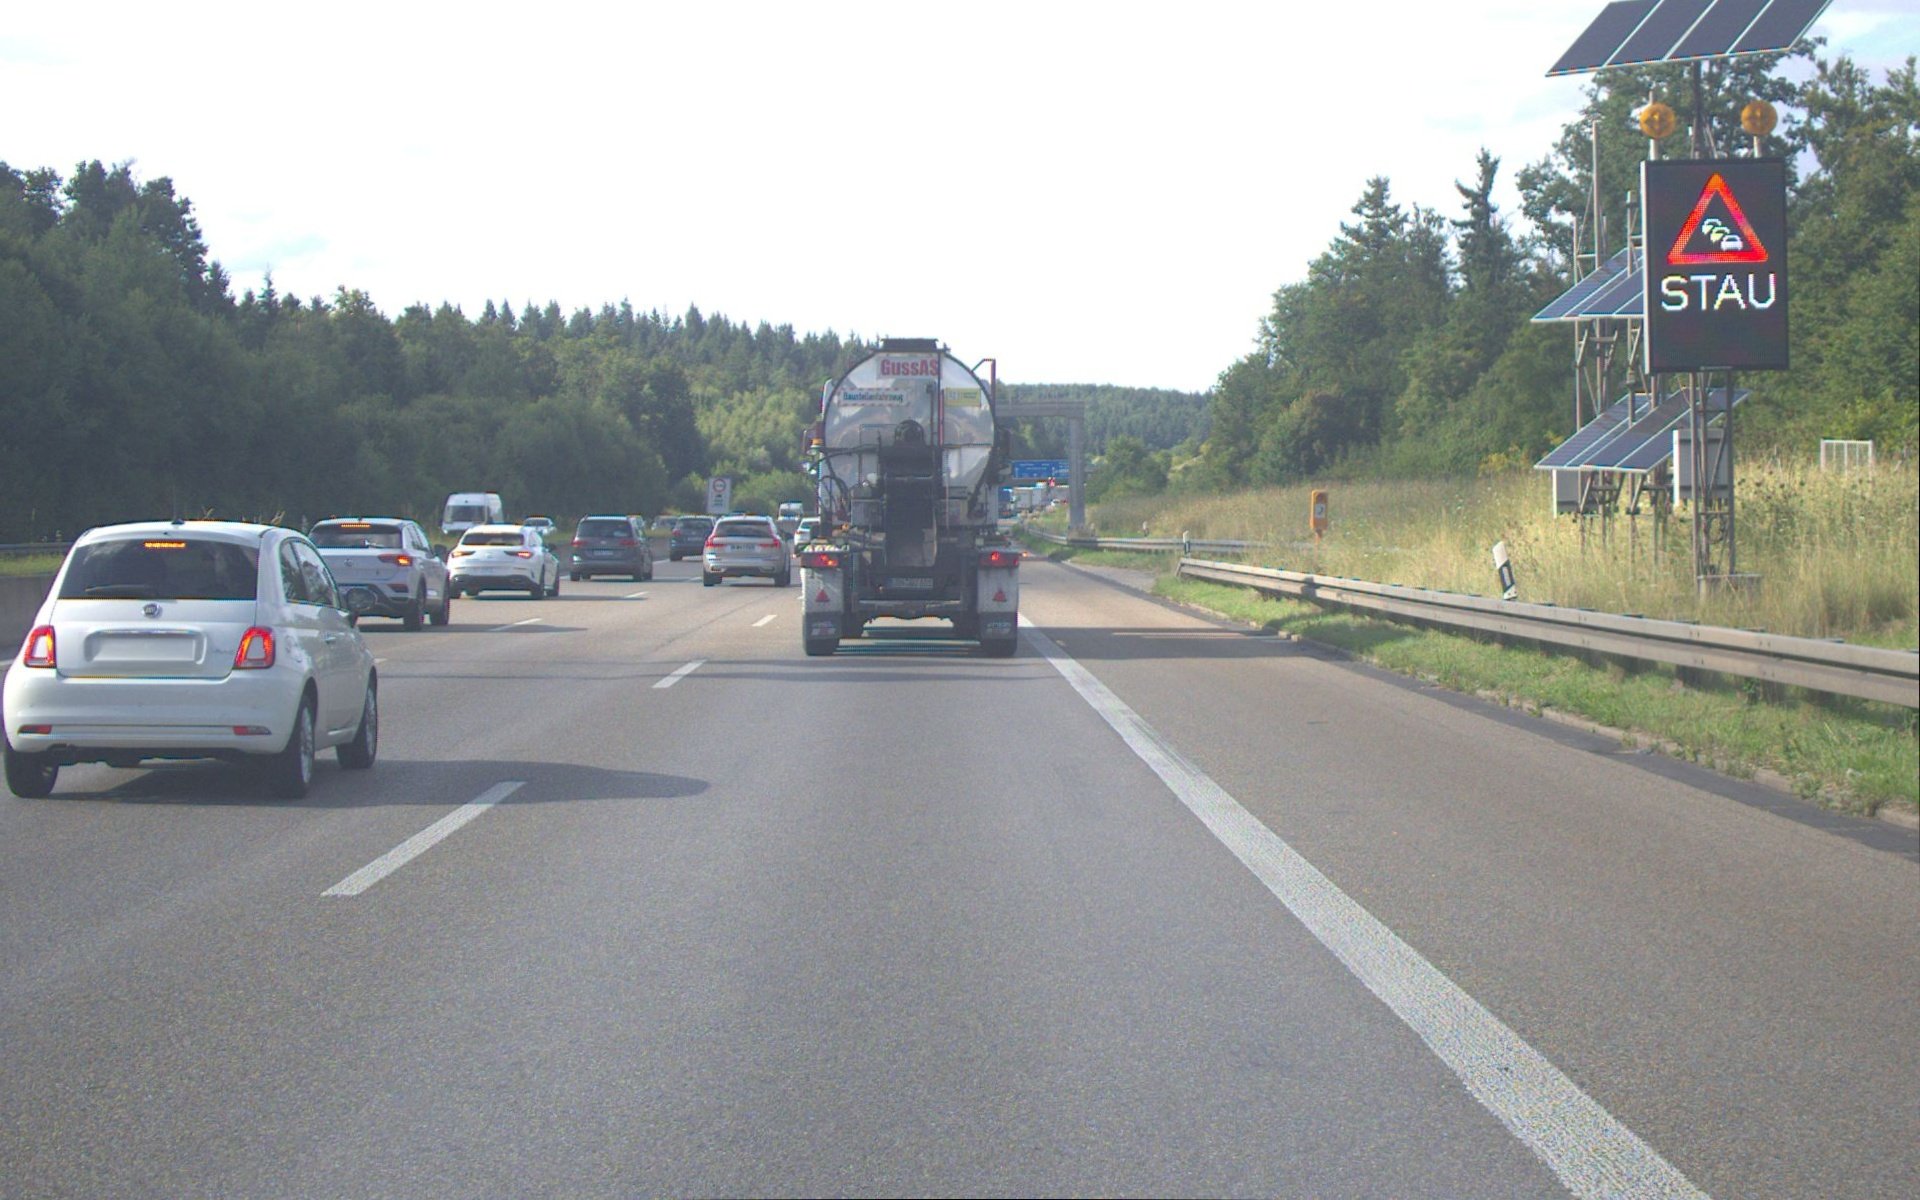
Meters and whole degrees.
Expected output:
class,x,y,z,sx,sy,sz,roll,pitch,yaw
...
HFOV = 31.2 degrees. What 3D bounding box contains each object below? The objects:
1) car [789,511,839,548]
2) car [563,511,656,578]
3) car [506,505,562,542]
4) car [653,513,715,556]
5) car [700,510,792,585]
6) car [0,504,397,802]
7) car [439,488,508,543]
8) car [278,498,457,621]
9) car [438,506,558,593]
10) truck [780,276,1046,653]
class,x,y,z,sx,sy,sz,roll,pitch,yaw
car,-6.026,-2.934,142.398,1.942,1.451,4.207,1,2,-1
car,-8.733,-1.404,85.974,1.942,1.580,4.207,1,2,-1
car,-24.803,-4.448,200.220,2.579,2.131,5.966,0,1,0
car,-9.950,-2.394,124.227,1.942,1.451,4.207,1,2,-1
car,-4.986,-1.247,80.692,1.942,1.649,4.207,1,2,-1
car,-4.311,0.238,19.730,1.618,1.539,3.520,1,1,-1
car,-21.038,-3.651,148.897,2.109,2.304,6.725,0,1,-1
car,-8.167,-0.602,47.723,1.806,1.580,4.207,1,2,-1
car,-8.922,-1.006,66.711,1.806,1.580,4.207,1,2,-1
truck,-0.530,-1.636,43.529,2.912,4.143,11.270,0,1,0
